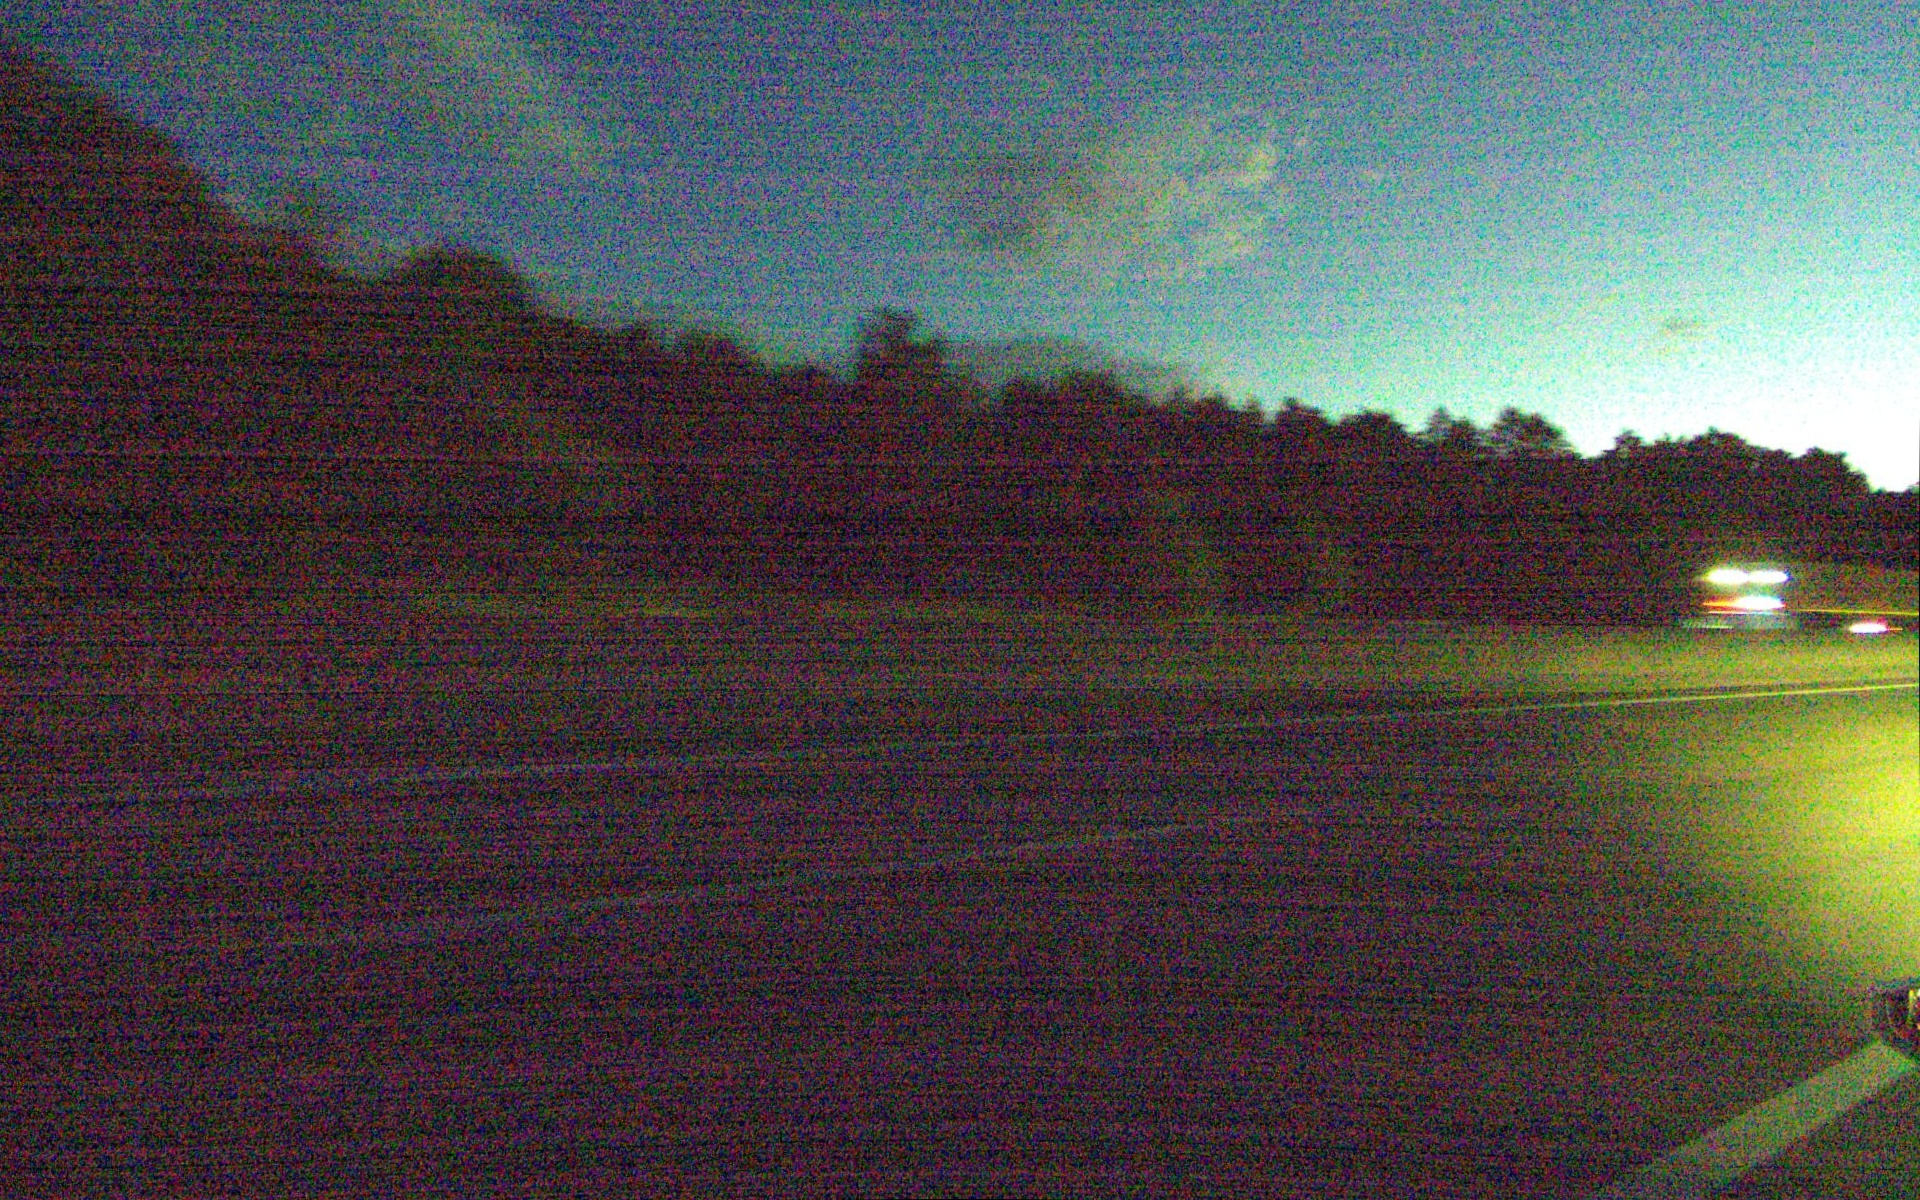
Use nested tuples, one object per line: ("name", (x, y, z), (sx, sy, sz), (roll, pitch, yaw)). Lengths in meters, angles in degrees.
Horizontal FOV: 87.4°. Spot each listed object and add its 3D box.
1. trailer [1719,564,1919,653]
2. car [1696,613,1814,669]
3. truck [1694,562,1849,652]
("trailer", (45.438, 0.617, 51.784), (17.074, 4.053, 3.527), (2, -1, -29))
("car", (25.312, 1.285, 31.975), (3.699, 1.667, 1.737), (2, -1, -31))
("truck", (38.893, 0.399, 48.124), (6.617, 4.023, 3.488), (2, -1, -29))
